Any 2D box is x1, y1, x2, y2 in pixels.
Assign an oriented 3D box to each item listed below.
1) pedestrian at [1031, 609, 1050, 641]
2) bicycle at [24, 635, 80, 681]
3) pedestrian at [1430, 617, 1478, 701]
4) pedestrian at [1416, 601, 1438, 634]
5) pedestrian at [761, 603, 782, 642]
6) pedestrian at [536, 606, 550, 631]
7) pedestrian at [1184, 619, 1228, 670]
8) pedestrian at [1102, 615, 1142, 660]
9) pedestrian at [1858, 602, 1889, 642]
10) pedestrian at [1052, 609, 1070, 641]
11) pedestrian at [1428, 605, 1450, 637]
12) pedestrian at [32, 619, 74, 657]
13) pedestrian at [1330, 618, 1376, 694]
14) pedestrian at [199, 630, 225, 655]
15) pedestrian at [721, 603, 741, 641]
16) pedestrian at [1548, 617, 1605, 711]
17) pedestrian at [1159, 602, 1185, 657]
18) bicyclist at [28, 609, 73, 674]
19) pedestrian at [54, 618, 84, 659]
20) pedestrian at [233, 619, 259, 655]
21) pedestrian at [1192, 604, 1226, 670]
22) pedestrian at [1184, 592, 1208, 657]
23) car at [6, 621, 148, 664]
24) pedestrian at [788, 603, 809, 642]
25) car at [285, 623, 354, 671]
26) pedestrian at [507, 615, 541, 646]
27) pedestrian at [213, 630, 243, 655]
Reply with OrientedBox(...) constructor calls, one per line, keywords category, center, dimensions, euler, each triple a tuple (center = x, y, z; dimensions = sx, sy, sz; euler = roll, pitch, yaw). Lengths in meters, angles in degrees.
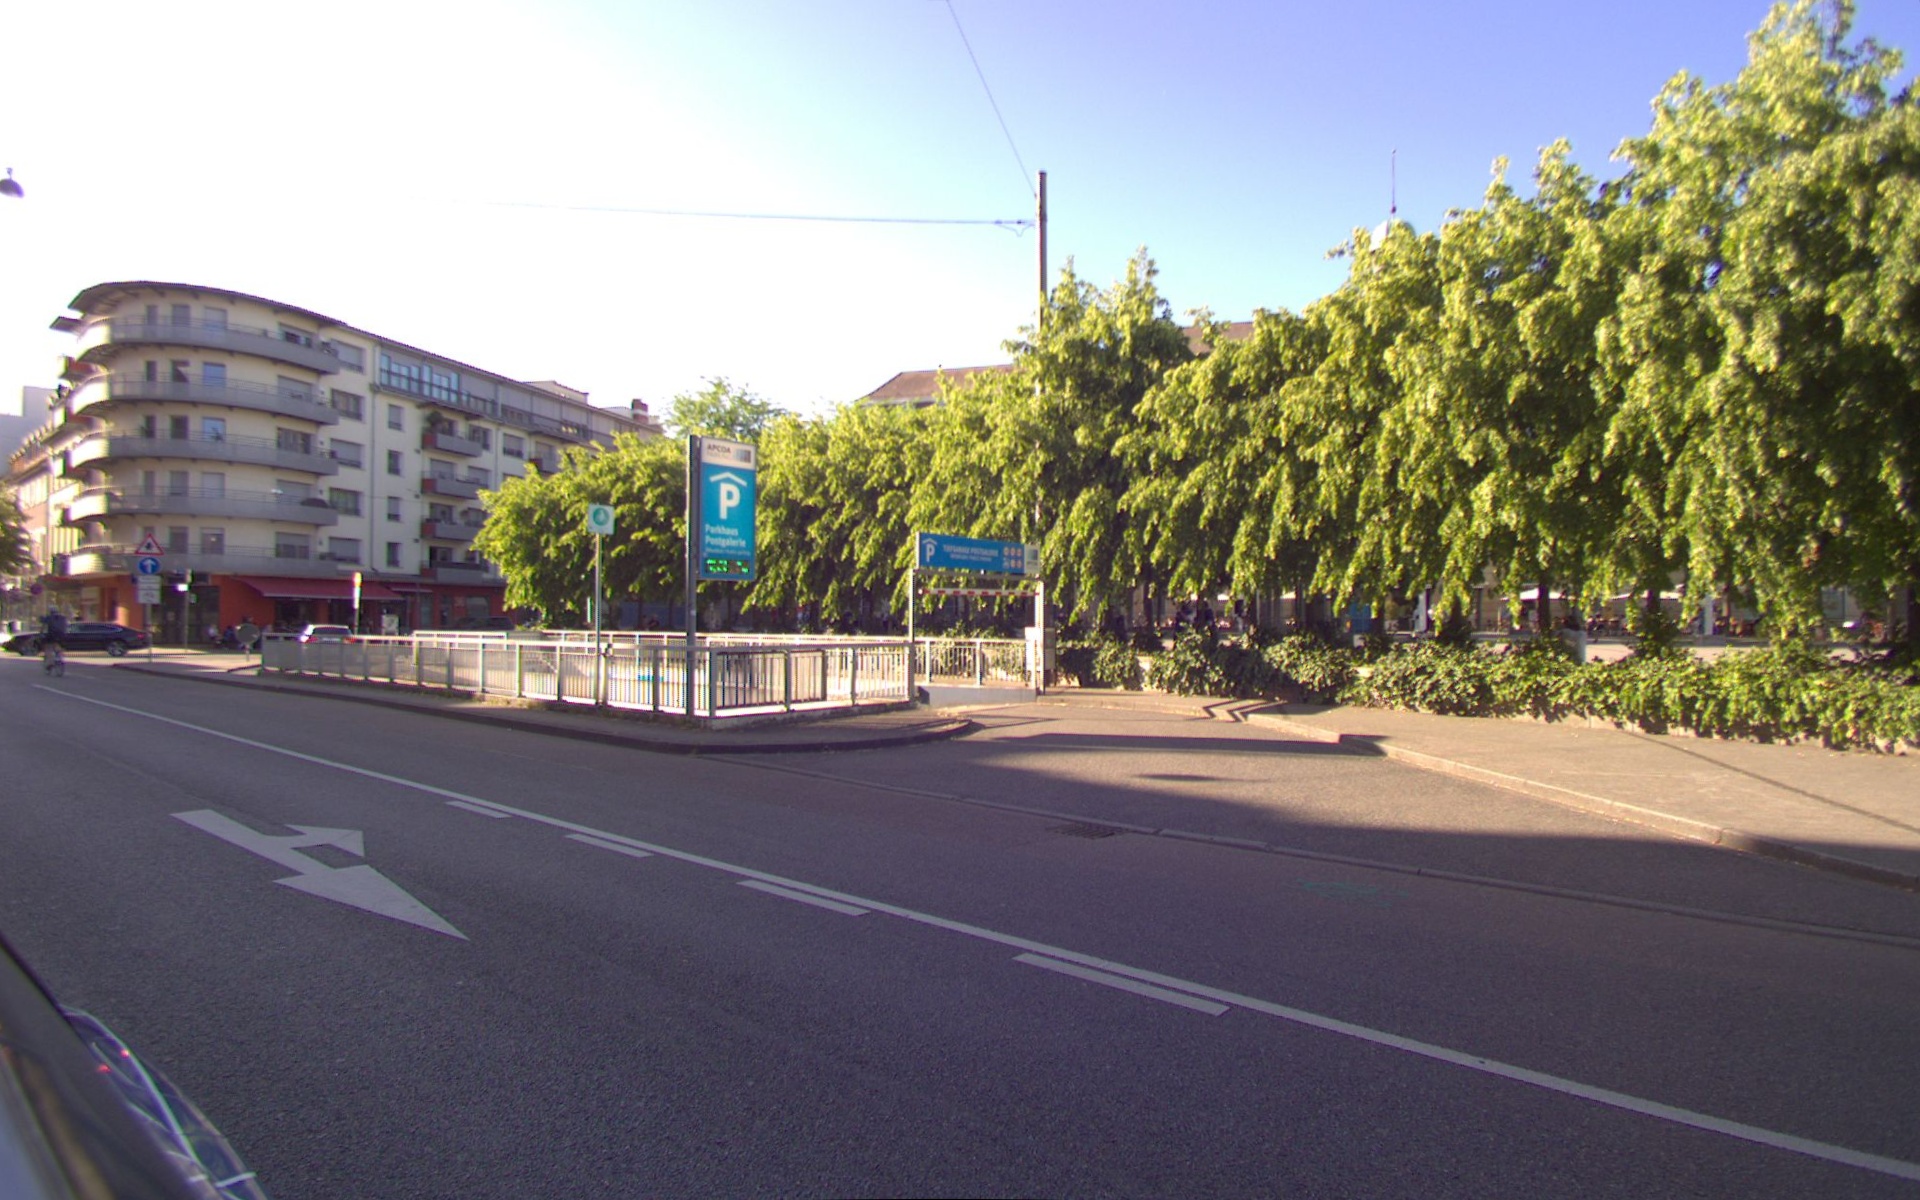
OrientedBox(category="pedestrian", center=(3.572, 1.115, 44.864), dimensions=(0.752, 1.385, 0.684), euler=(-1, 0, 1))
OrientedBox(category="bicycle", center=(-24.503, 1.549, 27.296), dimensions=(1.952, 1.171, 0.611), euler=(0, -3, 33))
OrientedBox(category="pedestrian", center=(8.744, 1.024, 17.909), dimensions=(0.621, 1.447, 0.645), euler=(-1, 0, 39))
OrientedBox(category="pedestrian", center=(22.642, 0.840, 49.080), dimensions=(0.672, 1.536, 0.696), euler=(-1, 0, -29))
OrientedBox(category="pedestrian", center=(-9.119, 1.099, 49.023), dimensions=(0.681, 1.877, 0.741), euler=(-1, 0, 27))
OrientedBox(category="pedestrian", center=(-31.385, 1.396, 76.127), dimensions=(0.684, 1.857, 0.737), euler=(-1, 0, 41))
OrientedBox(category="pedestrian", center=(5.455, 0.979, 22.470), dimensions=(0.682, 1.079, 0.686), euler=(-1, 0, -13))
OrientedBox(category="pedestrian", center=(4.027, 0.914, 25.163), dimensions=(0.682, 1.079, 0.686), euler=(-1, 0, -29))
OrientedBox(category="pedestrian", center=(35.741, 0.860, 39.594), dimensions=(0.682, 1.542, 0.742), euler=(-1, 0, -35))
OrientedBox(category="pedestrian", center=(4.467, 1.103, 44.827), dimensions=(0.684, 1.385, 0.684), euler=(-1, 0, 1))
OrientedBox(category="pedestrian", center=(23.544, 1.009, 49.762), dimensions=(0.672, 1.542, 0.696), euler=(-1, 0, -18))
OrientedBox(category="pedestrian", center=(-41.826, 1.738, 46.685), dimensions=(1.051, 1.732, 1.084), euler=(-1, 0, -15))
OrientedBox(category="pedestrian", center=(7.517, 1.059, 19.355), dimensions=(0.622, 1.409, 0.644), euler=(-1, 0, 44))
OrientedBox(category="pedestrian", center=(-37.645, 2.133, 50.952), dimensions=(0.882, 1.207, 0.772), euler=(-1, 0, 30))
OrientedBox(category="pedestrian", center=(-11.392, 1.107, 50.431), dimensions=(0.679, 1.857, 0.743), euler=(-1, 0, 19))
OrientedBox(category="pedestrian", center=(9.800, 1.010, 16.100), dimensions=(0.611, 1.447, 0.588), euler=(-1, 0, 14))
OrientedBox(category="pedestrian", center=(5.367, 0.740, 25.647), dimensions=(0.545, 1.385, 0.680), euler=(-1, 0, 19))
OrientedBox(category="bicyclist", center=(-24.596, 1.122, 27.359), dimensions=(0.808, 1.722, 0.695), euler=(-1, -3, 36))
OrientedBox(category="pedestrian", center=(-43.910, 1.885, 49.865), dimensions=(0.790, 1.934, 0.978), euler=(-1, 0, 37))
OrientedBox(category="pedestrian", center=(-35.466, 1.834, 50.276), dimensions=(0.946, 1.762, 1.065), euler=(-1, 0, -28))
OrientedBox(category="pedestrian", center=(5.816, 0.849, 23.648), dimensions=(0.688, 1.511, 0.680), euler=(-1, 0, 19))
OrientedBox(category="pedestrian", center=(5.936, 0.607, 25.439), dimensions=(0.522, 1.594, 0.680), euler=(-1, 0, 19))
OrientedBox(category="car", center=(-35.882, 1.689, 41.276), dimensions=(4.180, 1.542, 1.681), euler=(-1, 0, -36))
OrientedBox(category="pedestrian", center=(-7.924, 1.093, 49.718), dimensions=(0.681, 1.857, 0.741), euler=(-1, 0, 27))
OrientedBox(category="car", center=(-22.977, 1.642, 36.240), dimensions=(1.613, 1.542, 3.915), euler=(-1, 0, -39))
OrientedBox(category="pedestrian", center=(-24.115, 1.689, 55.989), dimensions=(1.135, 1.678, 1.260), euler=(-1, 0, 29))
OrientedBox(category="pedestrian", center=(-36.824, 2.122, 50.908), dimensions=(0.827, 1.207, 0.931), euler=(-1, 0, 16))
